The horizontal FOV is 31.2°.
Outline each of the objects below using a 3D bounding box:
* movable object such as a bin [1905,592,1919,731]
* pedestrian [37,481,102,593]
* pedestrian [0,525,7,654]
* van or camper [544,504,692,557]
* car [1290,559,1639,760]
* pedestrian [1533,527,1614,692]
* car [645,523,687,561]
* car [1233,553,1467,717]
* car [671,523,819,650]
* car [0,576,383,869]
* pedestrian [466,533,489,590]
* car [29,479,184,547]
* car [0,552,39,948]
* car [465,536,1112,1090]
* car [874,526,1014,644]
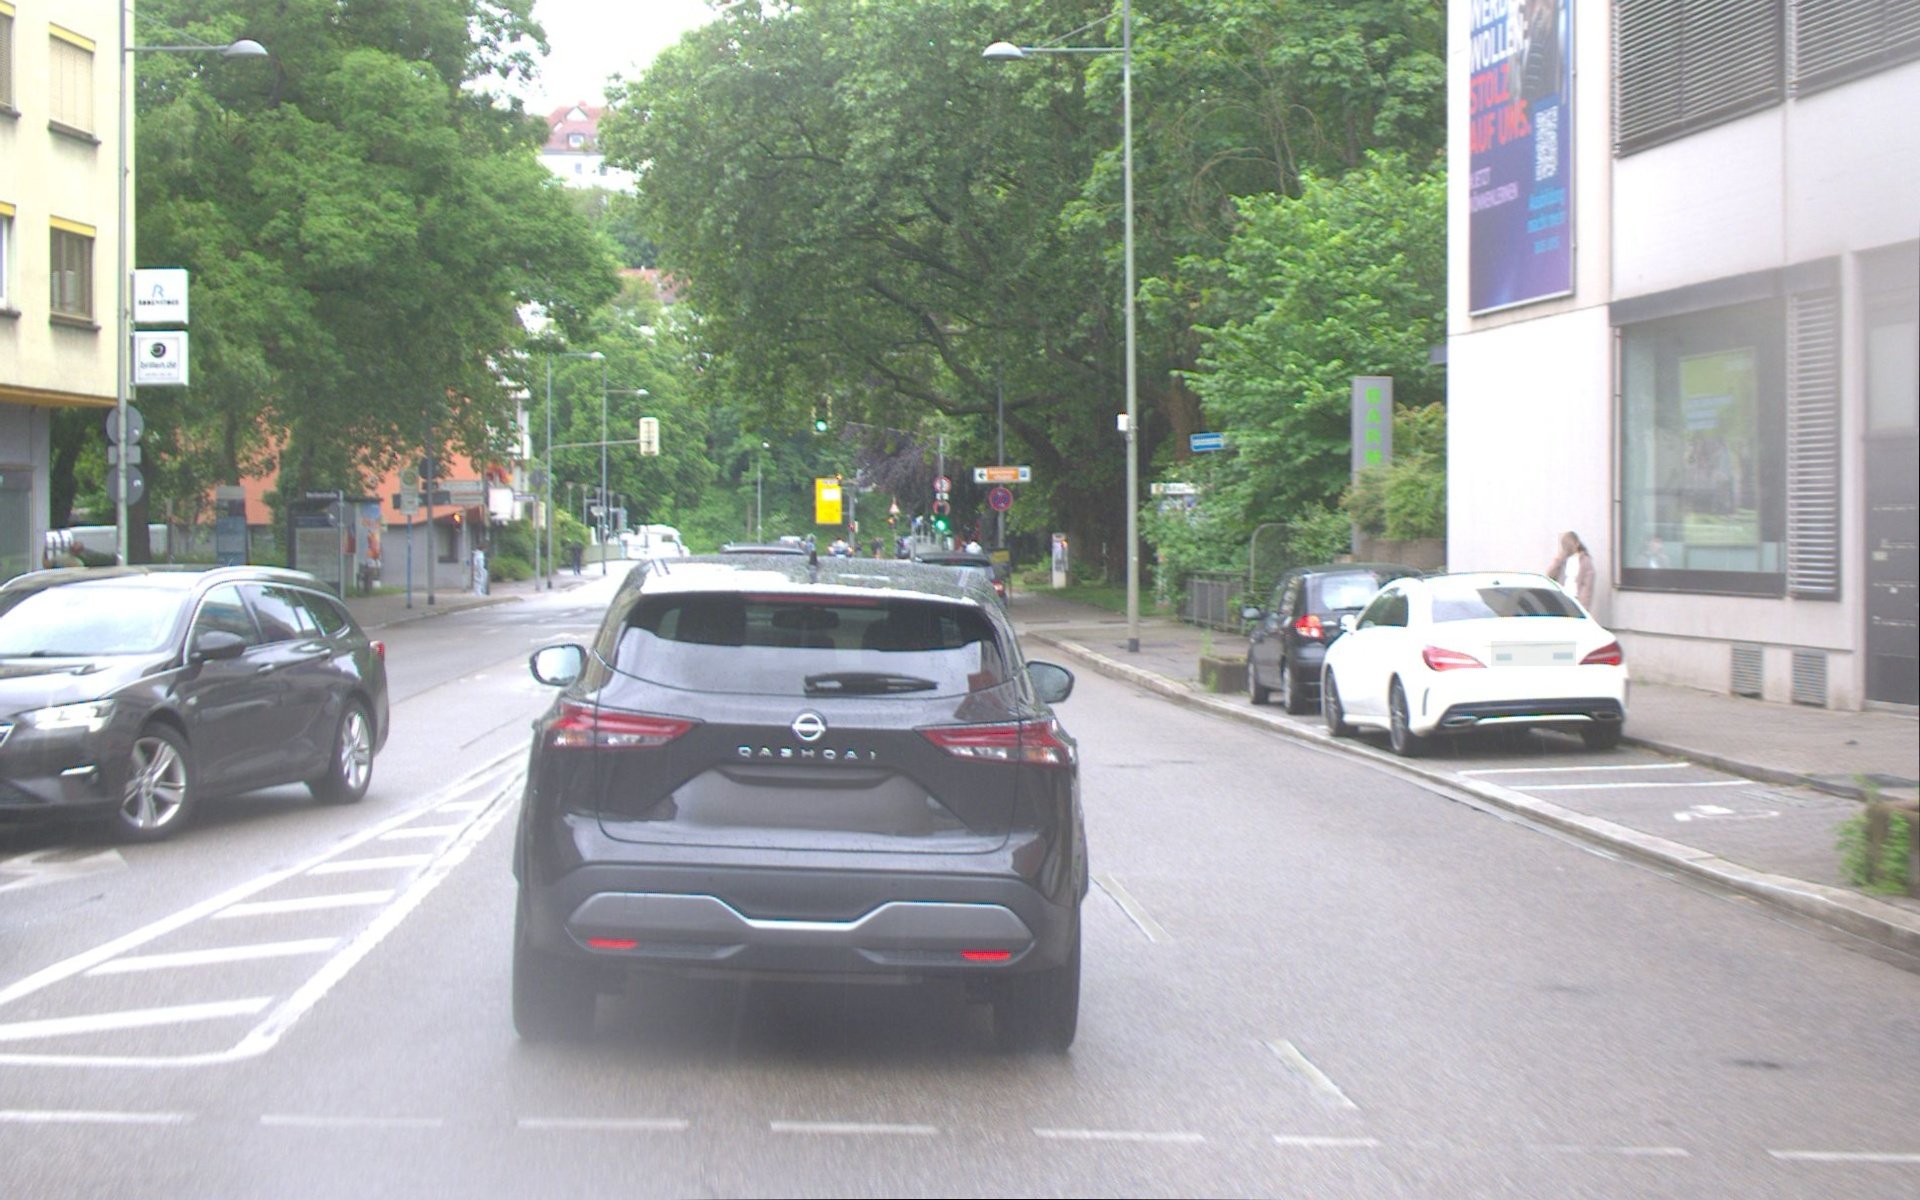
[{"bbox_3d":[7.772,0.478,26.411,0.712,1.064,0.784,0,2,-9],"label":"movable object such as a bin"},{"bbox_3d":[-13.424,-0.956,51.828,0.798,1.682,0.817,0,2,-4],"label":"pedestrian"},{"bbox_3d":[-13.773,-0.155,47.528,0.865,1.782,0.875,3,1,3],"label":"pedestrian"},{"bbox_3d":[-25.837,-5.266,259.931,10.928,3.545,3.185,2,2,-4],"label":"van or camper"},{"bbox_3d":[4.073,0.424,28.505,1.774,1.396,4.581,-2,2,-6],"label":"car"},{"bbox_3d":[6.576,0.093,36.876,0.612,1.731,0.681,-2,1,-10],"label":"pedestrian"},{"bbox_3d":[-14.759,-2.909,172.769,1.821,1.790,3.866,2,2,-2],"label":"car"},{"bbox_3d":[3.894,0.308,34.931,1.714,1.437,4.082,-2,2,-2],"label":"car"},{"bbox_3d":[-3.013,-0.220,48.817,1.945,1.679,4.000,-2,1,-2],"label":"car"},{"bbox_3d":[-4.801,0.597,19.380,1.821,1.428,4.398,0,1,8],"label":"car"},{"bbox_3d":[-15.492,-1.247,110.423,0.666,1.785,0.722,2,2,-10],"label":"pedestrian"},{"bbox_3d":[-23.455,-2.394,94.563,3.832,1.728,1.880,2,2,-5],"label":"car"},{"bbox_3d":[-4.805,0.632,12.236,1.821,1.603,4.431,0,1,0],"label":"car"},{"bbox_3d":[-0.668,0.614,12.237,1.894,1.623,4.001,1,1,-5],"label":"car"},{"bbox_3d":[-0.299,-0.270,56.649,1.945,1.810,4.001,-2,1,-5],"label":"car"}]
